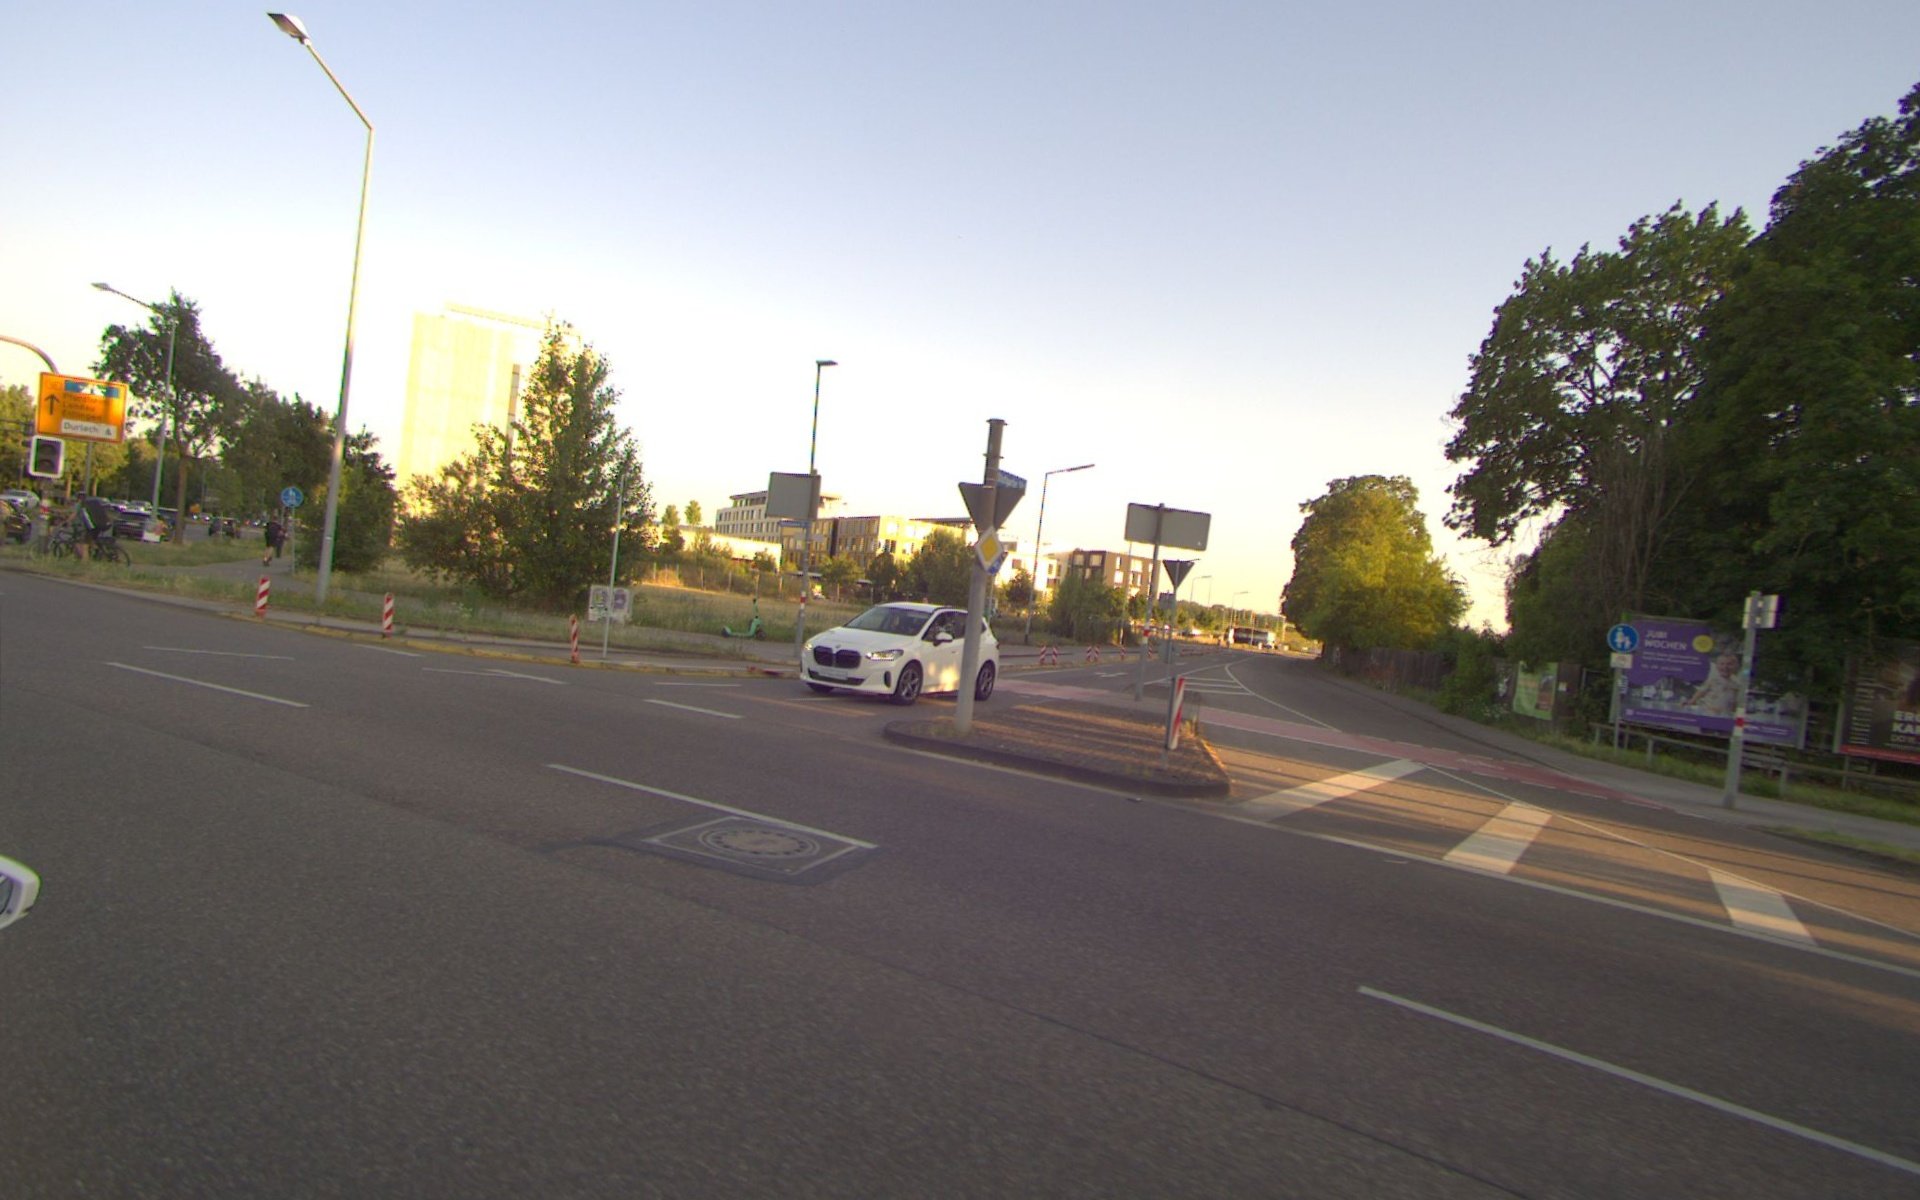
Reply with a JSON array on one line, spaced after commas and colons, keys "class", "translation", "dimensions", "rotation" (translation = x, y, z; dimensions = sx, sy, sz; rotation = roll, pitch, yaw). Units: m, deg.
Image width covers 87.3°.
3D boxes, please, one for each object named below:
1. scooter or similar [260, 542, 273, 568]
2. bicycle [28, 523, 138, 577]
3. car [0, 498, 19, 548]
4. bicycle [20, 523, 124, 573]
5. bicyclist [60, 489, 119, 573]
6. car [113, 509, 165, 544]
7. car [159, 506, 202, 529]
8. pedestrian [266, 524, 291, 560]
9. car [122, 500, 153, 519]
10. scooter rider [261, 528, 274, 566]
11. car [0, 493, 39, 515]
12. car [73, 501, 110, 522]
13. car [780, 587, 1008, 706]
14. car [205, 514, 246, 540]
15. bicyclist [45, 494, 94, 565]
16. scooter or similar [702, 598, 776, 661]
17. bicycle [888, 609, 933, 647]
[{"class": "scooter or similar", "translation": [-25.750, -1.685, 37.367], "dimensions": [0.244, 0.925, 1.031], "rotation": [6, 1, -30]}, {"class": "bicycle", "translation": [-21.268, -1.197, 24.442], "dimensions": [1.907, 1.099, 0.453], "rotation": [5, 2, -32]}, {"class": "car", "translation": [-32.781, -2.702, 33.455], "dimensions": [1.805, 1.544, 4.088], "rotation": [7, 0, -40]}, {"class": "bicycle", "translation": [-22.688, -1.332, 25.752], "dimensions": [1.907, 1.099, 0.453], "rotation": [4, 2, -32]}, {"class": "bicyclist", "translation": [-21.147, -1.667, 24.459], "dimensions": [0.900, 1.922, 0.636], "rotation": [4, 2, -32]}, {"class": "car", "translation": [-42.724, -3.840, 52.391], "dimensions": [1.736, 1.507, 4.093], "rotation": [7, 0, -36]}, {"class": "car", "translation": [-60.536, -6.394, 78.202], "dimensions": [1.979, 1.489, 3.968], "rotation": [7, 0, -31]}, {"class": "pedestrian", "translation": [-32.160, -2.726, 47.466], "dimensions": [0.787, 1.569, 0.563], "rotation": [6, 1, -29]}, {"class": "car", "translation": [-93.616, -10.285, 114.574], "dimensions": [1.901, 1.776, 4.882], "rotation": [5, 0, -31]}, {"class": "scooter rider", "translation": [-25.697, -1.967, 37.344], "dimensions": [0.262, 1.356, 0.403], "rotation": [6, 1, -30]}, {"class": "car", "translation": [-75.941, -7.700, 80.925], "dimensions": [1.709, 1.466, 4.513], "rotation": [7, 0, -30]}, {"class": "car", "translation": [-86.334, -8.769, 100.071], "dimensions": [1.782, 1.653, 4.424], "rotation": [5, 0, -29]}, {"class": "car", "translation": [-0.953, 0.806, 16.825], "dimensions": [1.858, 1.577, 4.091], "rotation": [6, -1, 27]}, {"class": "car", "translation": [-54.773, -5.444, 75.082], "dimensions": [1.892, 1.638, 3.968], "rotation": [7, 0, -31]}, {"class": "bicyclist", "translation": [-22.754, -1.787, 25.714], "dimensions": [0.761, 1.725, 0.636], "rotation": [3, 2, -32]}, {"class": "scooter or similar", "translation": [-4.796, 0.637, 21.850], "dimensions": [1.357, 1.177, 0.442], "rotation": [7, 1, 6]}, {"class": "bicycle", "translation": [-1.655, 0.931, 33.340], "dimensions": [1.346, 1.102, 0.280], "rotation": [7, 1, 8]}]
